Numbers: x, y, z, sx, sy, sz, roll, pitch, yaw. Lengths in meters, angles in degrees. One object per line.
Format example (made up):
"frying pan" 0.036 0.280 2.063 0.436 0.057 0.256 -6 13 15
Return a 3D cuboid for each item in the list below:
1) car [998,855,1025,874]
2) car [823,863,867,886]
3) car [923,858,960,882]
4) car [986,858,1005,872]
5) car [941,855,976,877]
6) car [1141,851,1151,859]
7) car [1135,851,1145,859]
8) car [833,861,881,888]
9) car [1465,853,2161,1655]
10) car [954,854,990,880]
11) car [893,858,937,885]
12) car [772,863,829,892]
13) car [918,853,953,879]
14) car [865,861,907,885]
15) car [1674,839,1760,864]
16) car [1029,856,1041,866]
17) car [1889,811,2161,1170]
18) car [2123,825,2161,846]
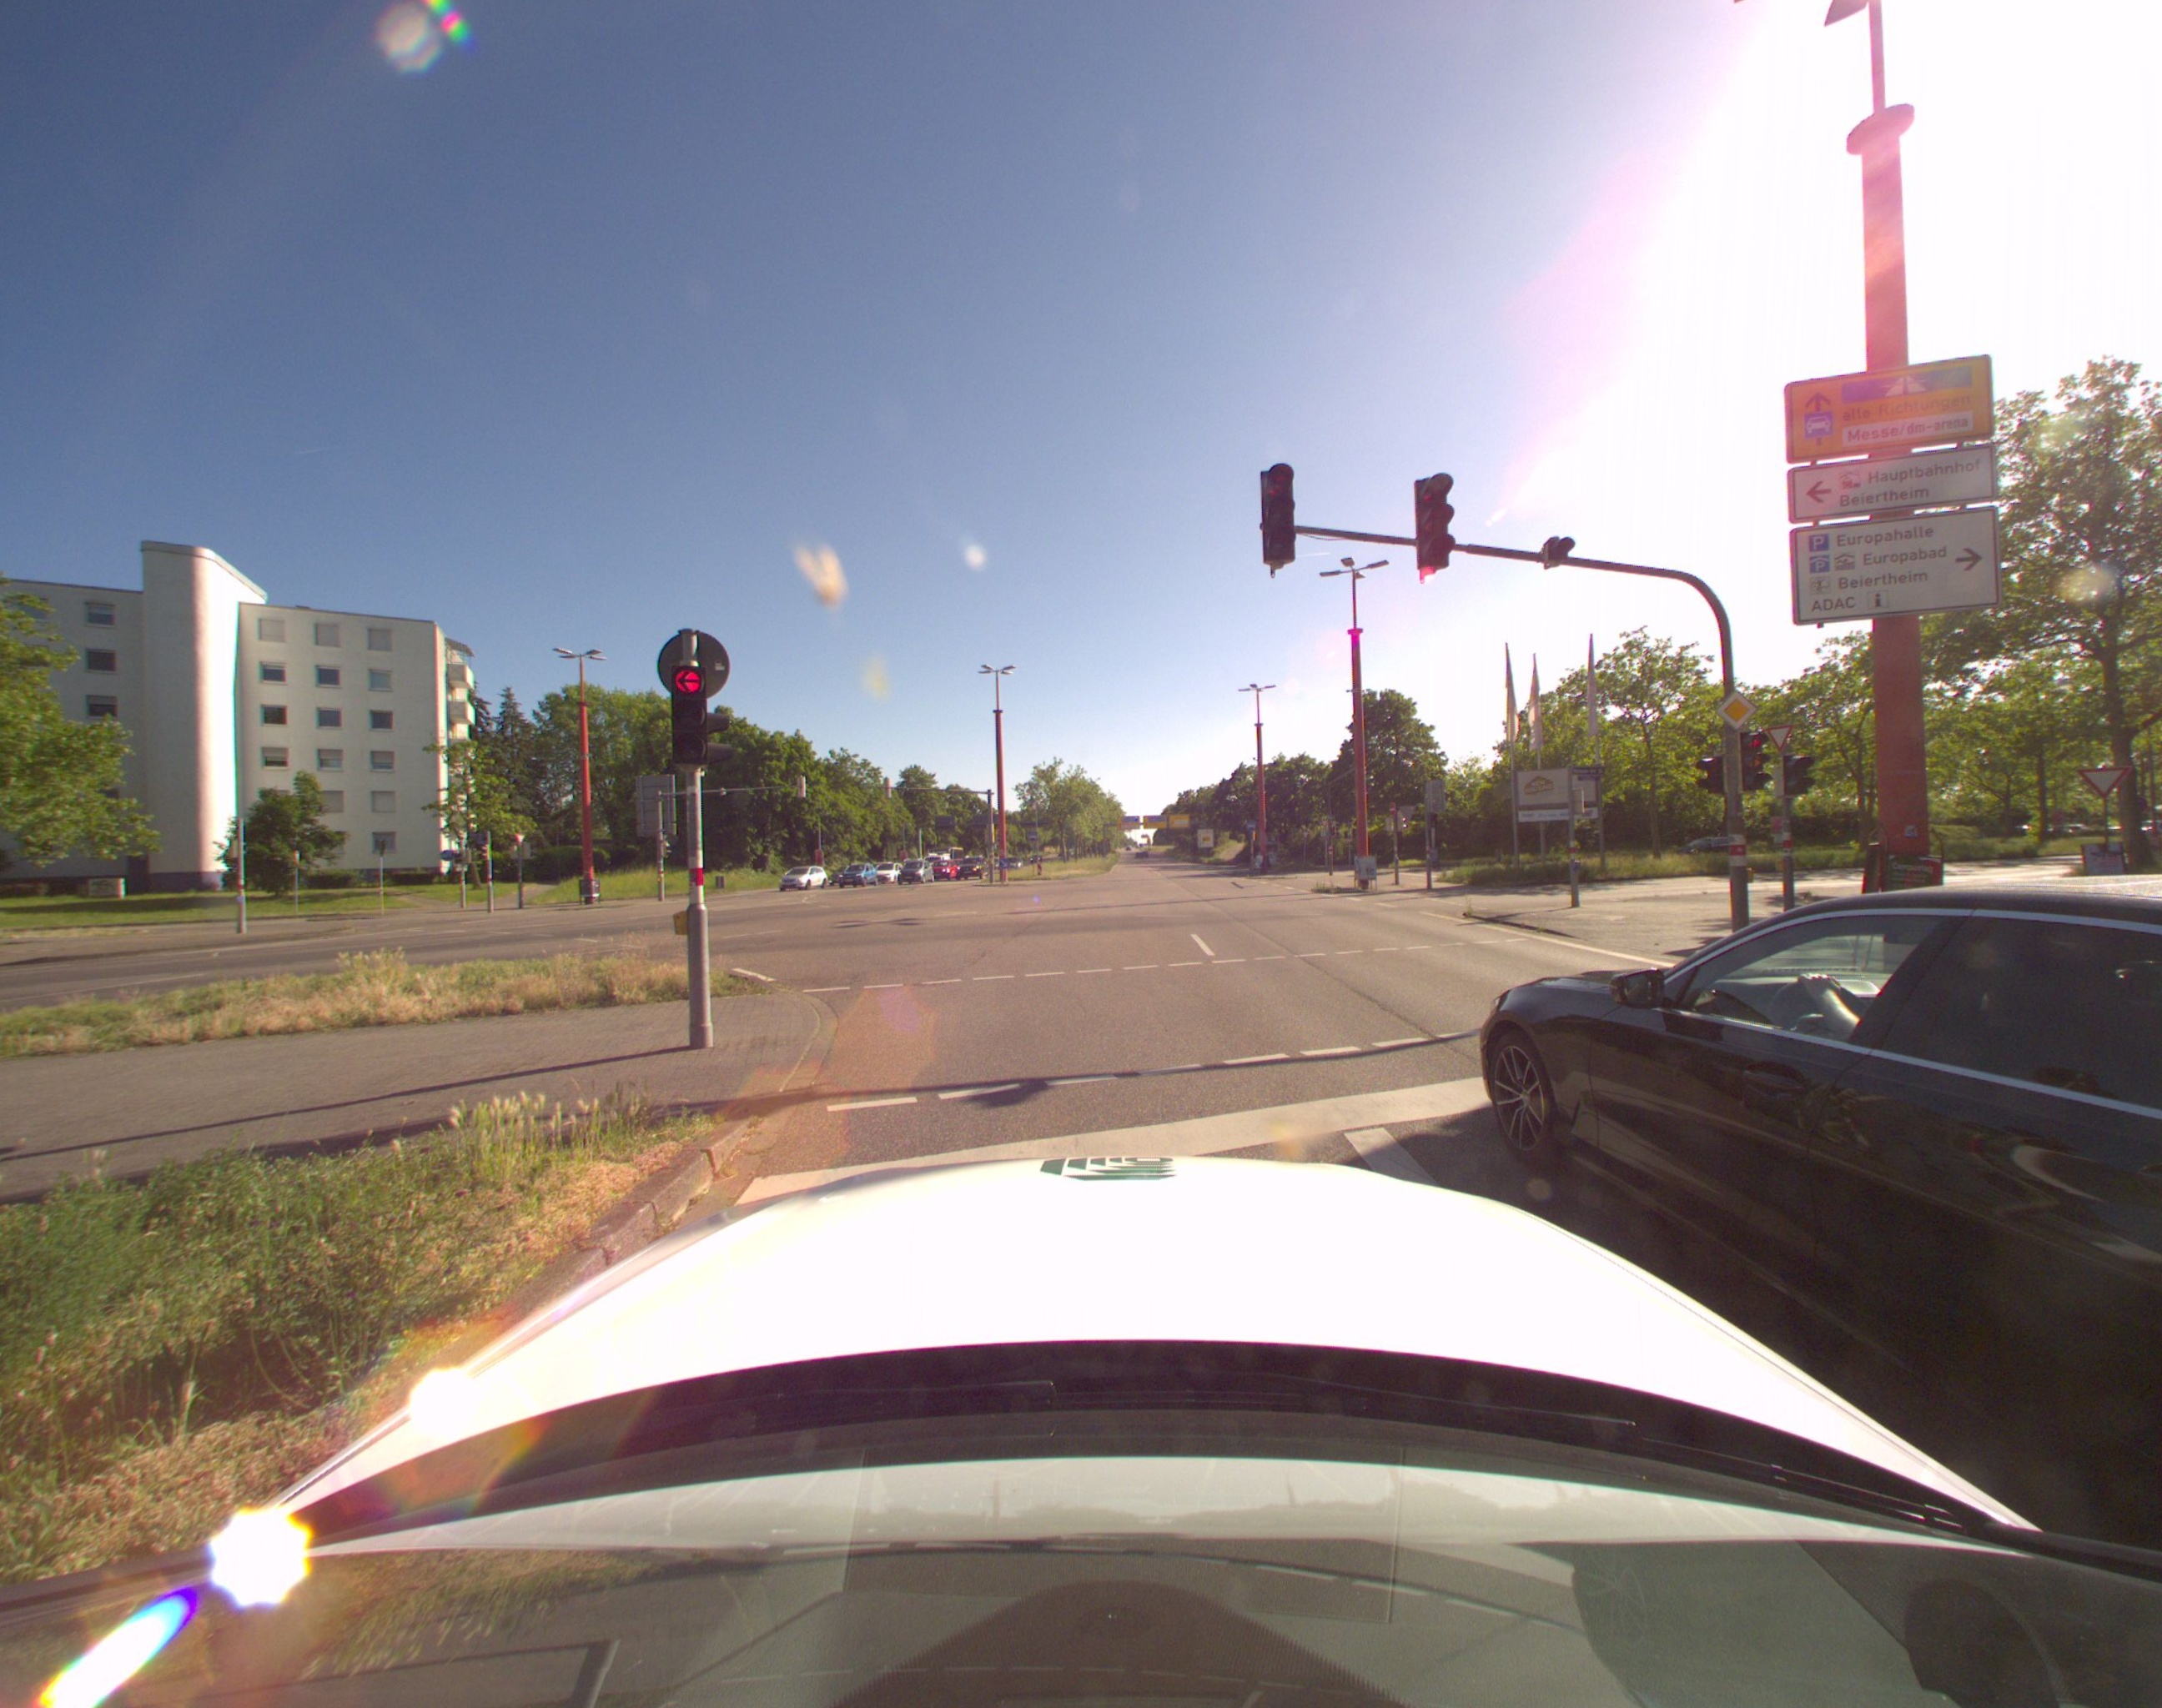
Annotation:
"car" -6.302 0.945 74.205 1.878 1.543 4.002 -3 0 2
"car" -17.548 1.507 60.686 1.877 1.513 4.003 -3 0 3
"car" -10.058 1.128 59.030 1.869 1.552 4.000 -5 0 0
"car" -10.876 1.402 103.631 1.878 1.543 4.002 -3 0 2
"car" -9.737 0.937 65.027 1.893 1.630 4.003 -1 0 3
"car" 14.910 0.183 186.818 1.986 1.733 4.001 0 -1 2
"car" 12.540 0.236 173.938 1.986 1.733 4.001 0 -1 2
"car" -14.129 1.290 51.622 1.794 1.515 3.861 -3 0 2
"car" 2.873 0.719 2.323 1.756 1.441 4.299 0 0 4
"car" -7.519 0.861 56.708 1.787 1.626 4.144 -3 0 1
"car" -10.687 1.083 52.702 1.867 1.550 4.029 -3 0 2
"car" -17.635 1.427 51.423 1.869 1.652 4.222 -3 -1 3
"car" -12.713 1.004 71.307 1.954 2.155 5.083 -2 0 1
"car" -13.765 1.291 57.769 1.895 1.555 4.000 -3 0 0
"car" 43.085 -0.164 55.235 4.256 1.635 1.775 -1 -1 11
"car" -8.477 1.279 150.872 1.830 1.837 3.962 0 -1 2
"car" 5.662 0.600 2.963 1.709 1.608 3.849 0 -1 2
"car" 87.324 -1.537 65.884 4.281 1.635 1.765 -2 0 -8
